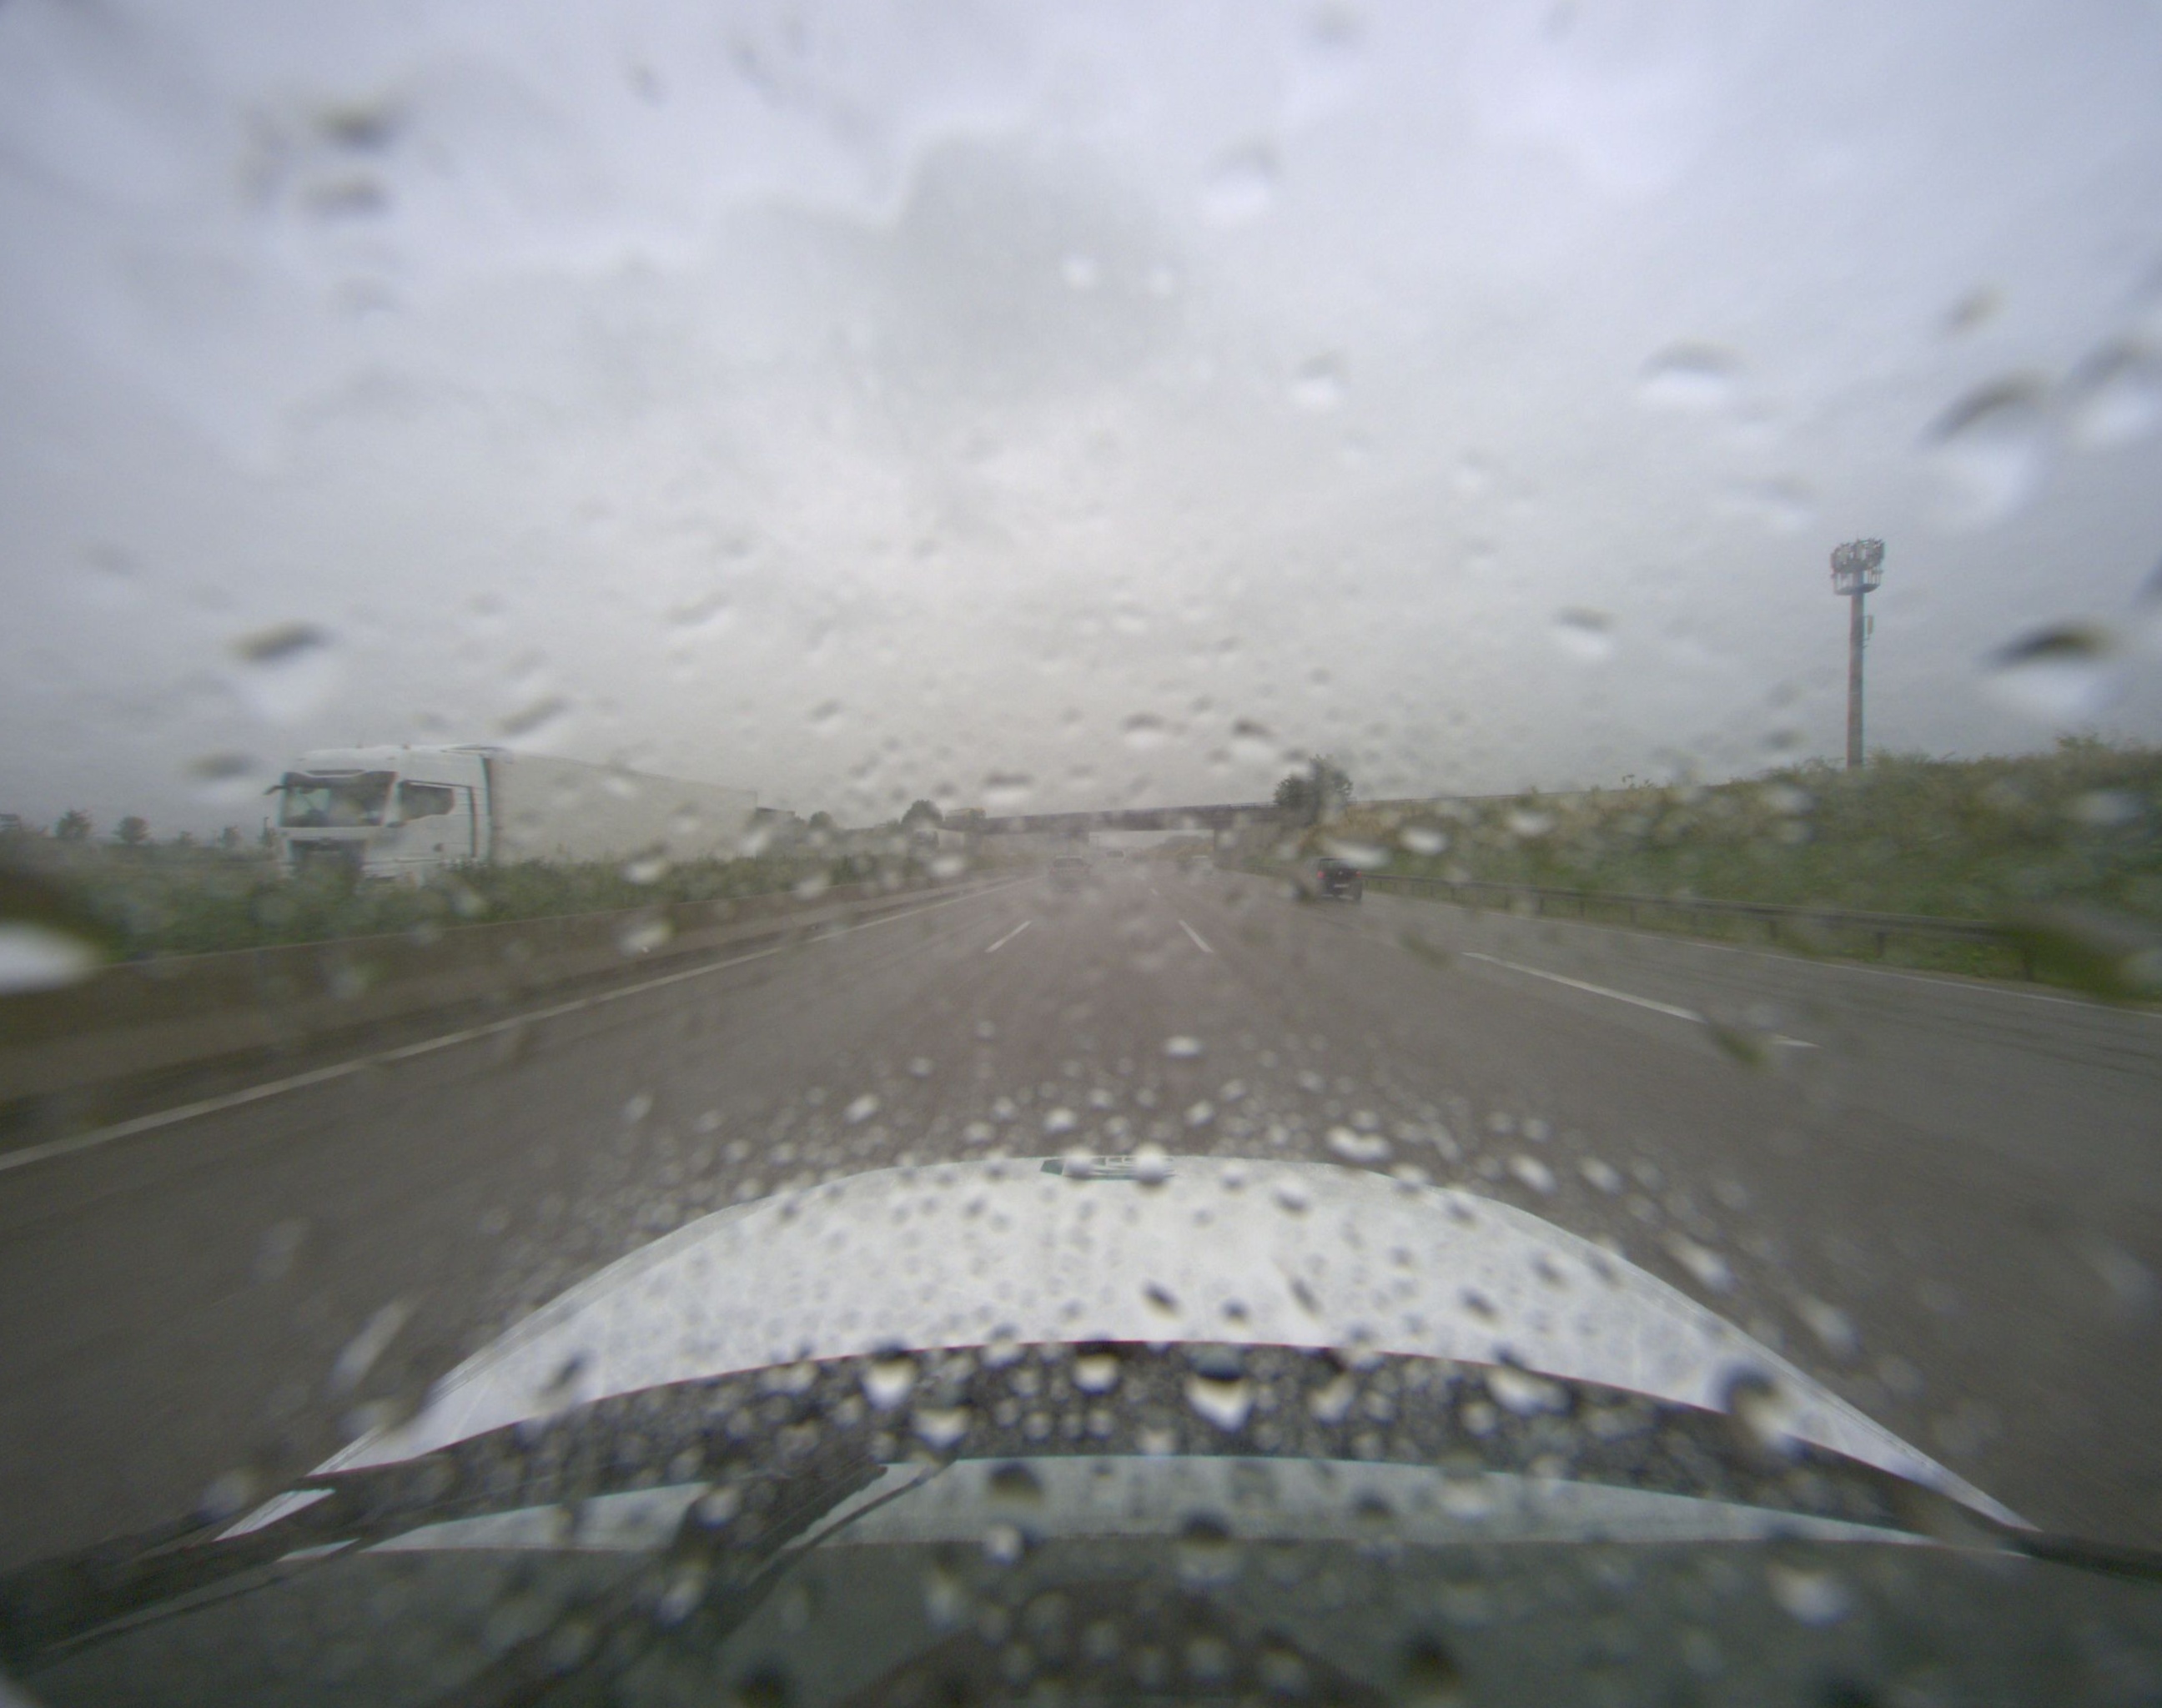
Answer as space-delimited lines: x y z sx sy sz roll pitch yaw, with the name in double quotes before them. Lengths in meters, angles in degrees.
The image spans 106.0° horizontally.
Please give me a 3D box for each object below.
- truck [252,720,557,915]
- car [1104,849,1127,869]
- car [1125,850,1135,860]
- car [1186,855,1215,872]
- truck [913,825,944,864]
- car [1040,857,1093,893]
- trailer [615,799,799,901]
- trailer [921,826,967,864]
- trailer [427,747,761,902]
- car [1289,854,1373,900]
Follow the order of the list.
"truck" -14.948 -0.727 18.523 2.748 3.847 4.822 0 0 2
"car" 2.943 0.434 69.143 1.889 1.585 4.003 0 -1 3
"car" 10.835 0.189 181.375 1.987 2.101 4.000 0 0 0
"car" 9.313 0.745 63.543 1.984 1.266 4.005 0 -1 5
"truck" -15.173 -0.885 81.322 1.985 3.781 4.817 0 0 3
"car" -0.594 0.886 36.898 1.837 1.513 4.763 -1 0 5
"trailer" -17.944 -0.176 40.698 2.807 4.251 13.242 0 0 1
"trailer" -14.827 -0.882 89.141 1.985 3.765 13.869 -2 0 3
"trailer" -14.537 -0.742 26.418 2.806 3.852 12.415 0 0 3
"car" 8.387 0.725 27.599 1.726 1.421 3.657 0 0 0
